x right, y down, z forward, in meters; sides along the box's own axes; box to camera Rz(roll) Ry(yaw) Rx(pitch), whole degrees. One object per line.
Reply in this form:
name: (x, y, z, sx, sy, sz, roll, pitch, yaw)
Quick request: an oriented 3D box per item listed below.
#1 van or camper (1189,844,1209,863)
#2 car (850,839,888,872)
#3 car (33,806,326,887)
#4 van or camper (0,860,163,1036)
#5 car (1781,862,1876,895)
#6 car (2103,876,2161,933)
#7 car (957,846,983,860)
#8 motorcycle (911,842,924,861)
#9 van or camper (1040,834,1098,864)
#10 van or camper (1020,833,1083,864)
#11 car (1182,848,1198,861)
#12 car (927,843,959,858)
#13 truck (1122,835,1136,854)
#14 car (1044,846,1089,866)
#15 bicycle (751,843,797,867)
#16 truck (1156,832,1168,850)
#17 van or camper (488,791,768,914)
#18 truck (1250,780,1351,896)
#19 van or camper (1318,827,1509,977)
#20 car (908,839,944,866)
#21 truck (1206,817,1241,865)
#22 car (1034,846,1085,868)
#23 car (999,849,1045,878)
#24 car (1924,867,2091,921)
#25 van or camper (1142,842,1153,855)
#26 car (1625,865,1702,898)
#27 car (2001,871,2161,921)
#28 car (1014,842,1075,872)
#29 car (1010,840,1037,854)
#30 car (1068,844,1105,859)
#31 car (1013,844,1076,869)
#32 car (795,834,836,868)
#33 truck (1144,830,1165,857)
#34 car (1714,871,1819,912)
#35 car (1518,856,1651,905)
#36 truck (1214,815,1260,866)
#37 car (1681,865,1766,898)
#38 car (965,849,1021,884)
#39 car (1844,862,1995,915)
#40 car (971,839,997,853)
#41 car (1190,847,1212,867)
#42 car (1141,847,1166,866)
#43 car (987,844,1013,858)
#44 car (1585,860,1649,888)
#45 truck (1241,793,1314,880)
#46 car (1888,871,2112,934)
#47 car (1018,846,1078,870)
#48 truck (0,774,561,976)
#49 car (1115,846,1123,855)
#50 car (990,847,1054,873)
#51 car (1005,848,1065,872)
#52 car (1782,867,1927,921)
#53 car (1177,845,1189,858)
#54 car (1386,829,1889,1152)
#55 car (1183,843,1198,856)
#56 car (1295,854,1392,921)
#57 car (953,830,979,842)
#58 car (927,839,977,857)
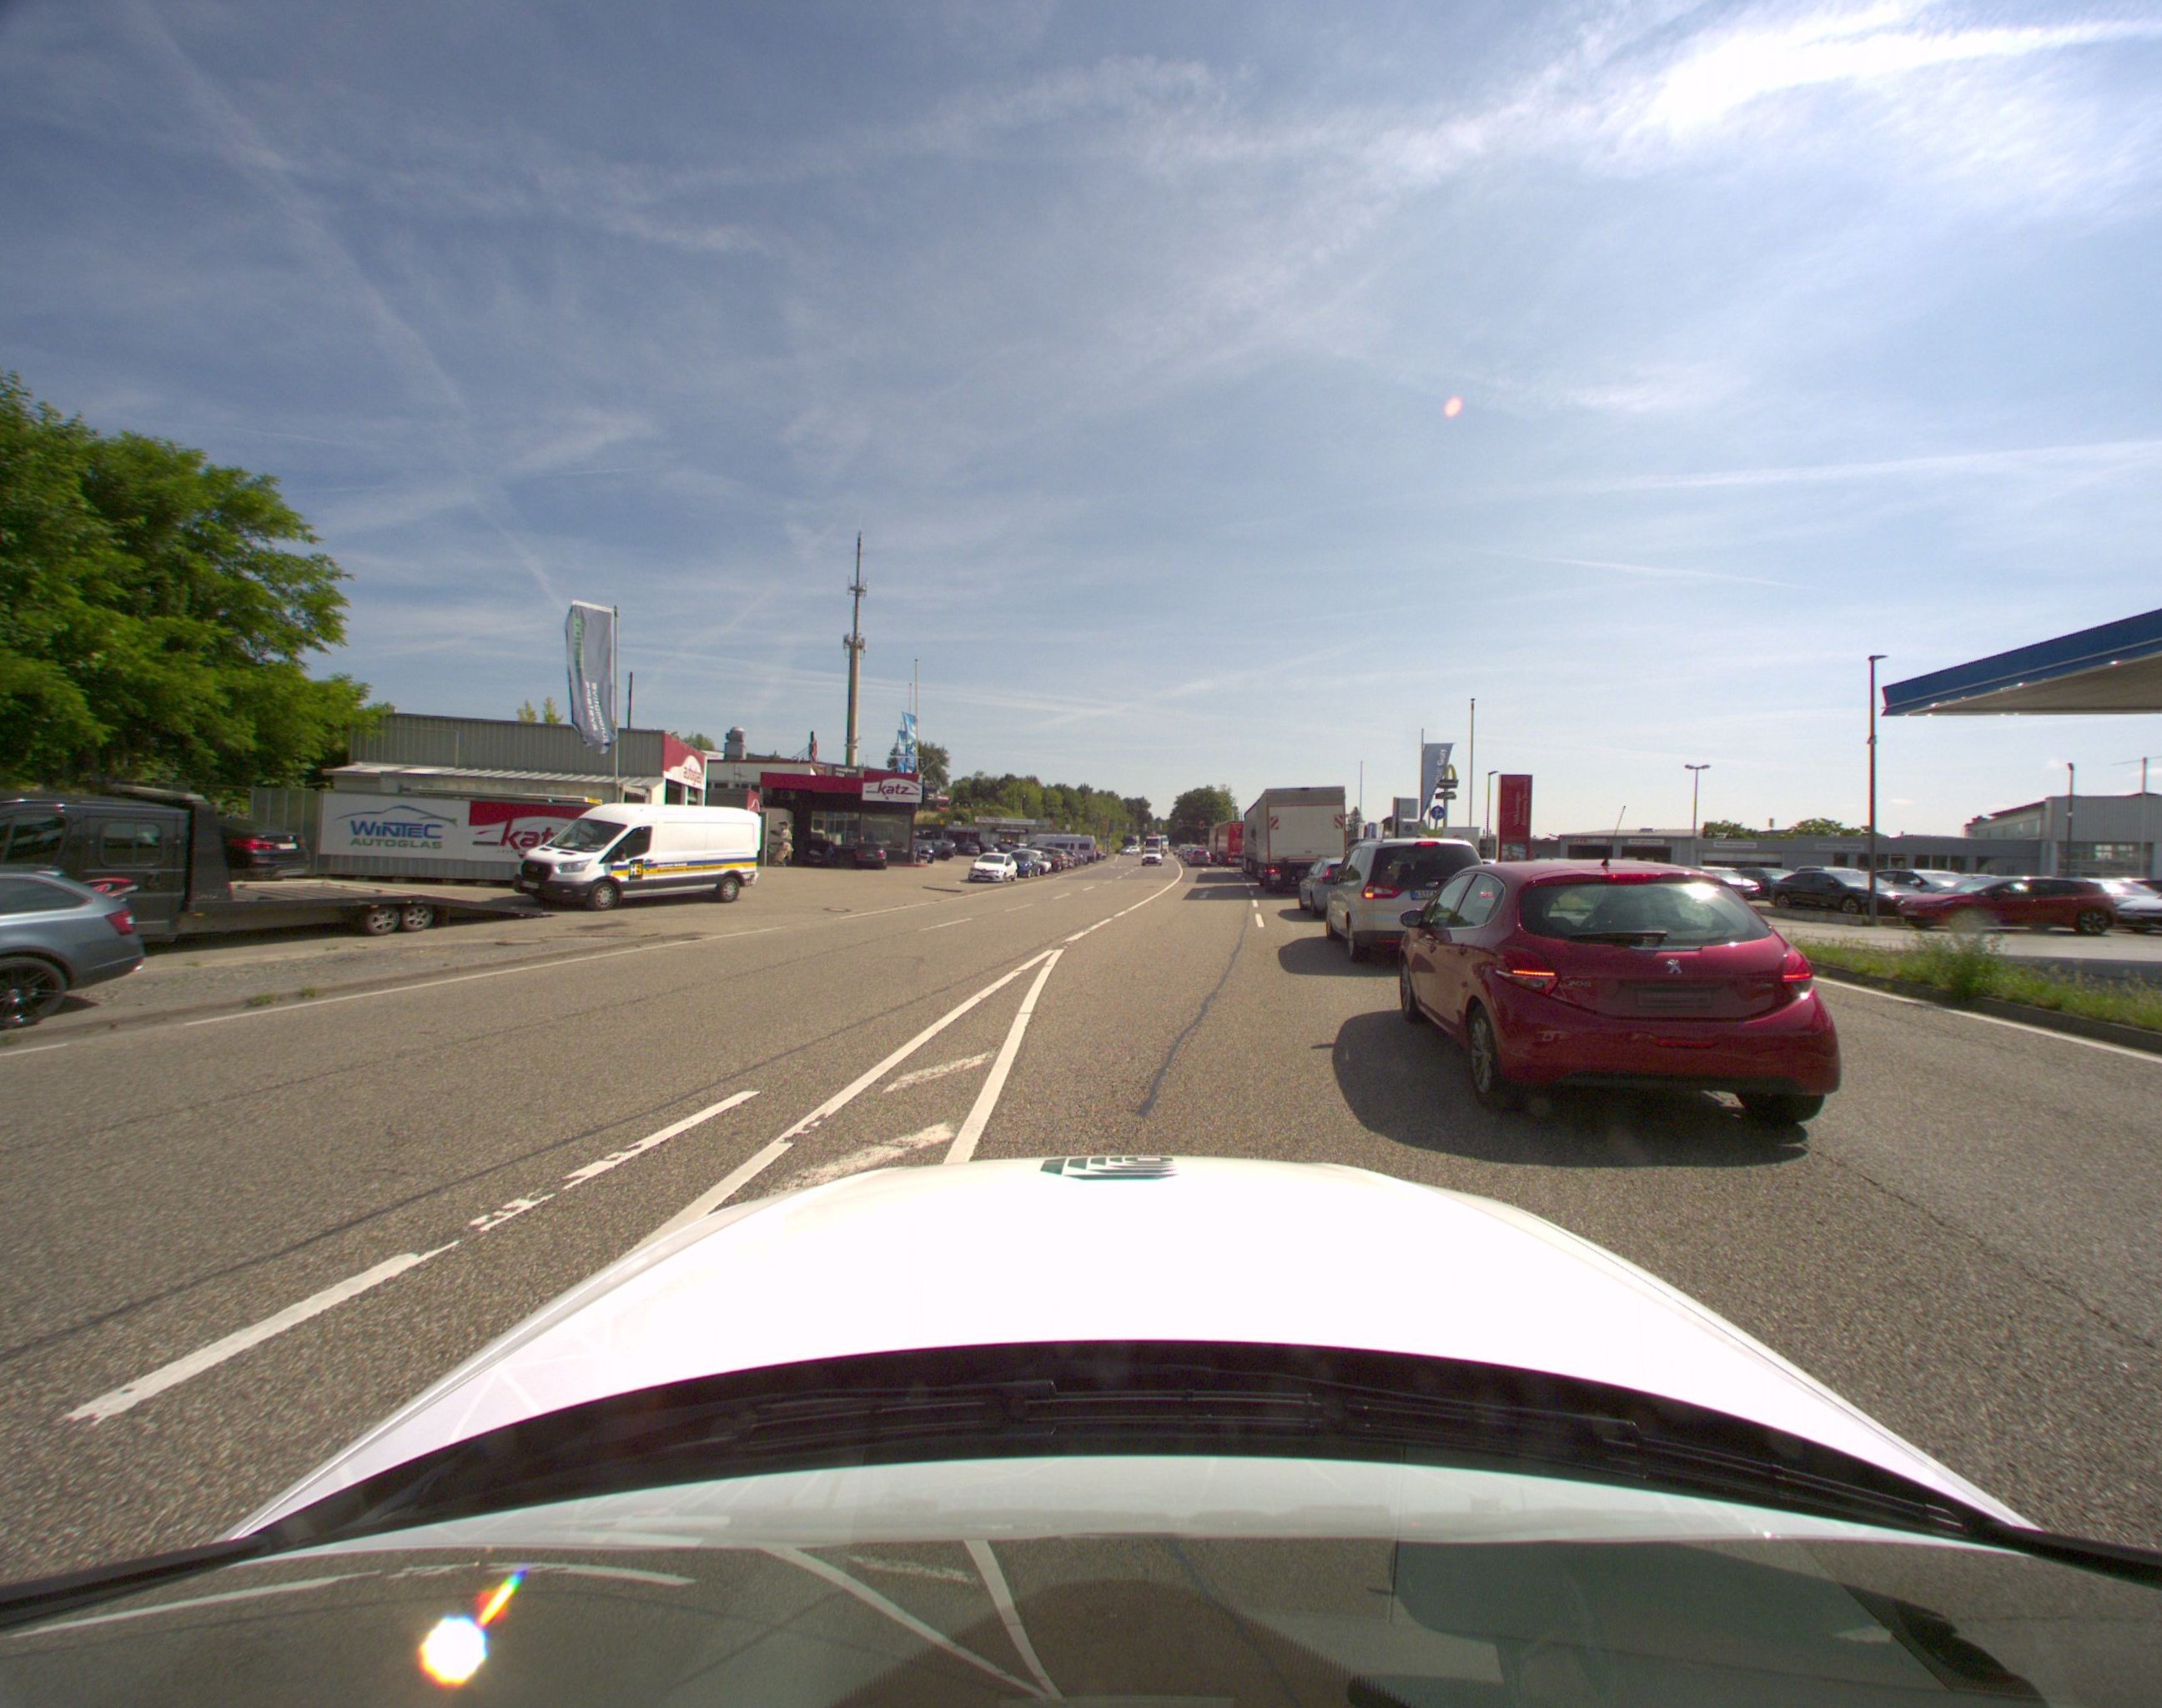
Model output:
van or camper: (12.167, -0.042, 83.904, 1.843, 1.905, 3.791, 1, 1, 6)
car: (-11.613, 0.029, 44.612, 1.857, 1.504, 4.374, 3, 2, -15)
car: (-18.401, -0.133, 16.842, 3.666, 1.529, 1.730, 1, 0, -16)
van or camper: (-10.709, 0.849, 6.323, 1.629, 1.524, 4.482, 2, 0, 12)
car: (35.372, 1.127, 38.679, 1.549, 1.409, 3.699, -1, 0, 9)
car: (31.134, 1.409, 22.109, 4.302, 1.494, 1.568, 1, 0, 9)
car: (-12.400, -0.112, 90.627, 1.773, 1.588, 3.796, 0, 0, -27)
motorcycle: (-10.799, -0.173, 53.669, 0.771, 1.261, 2.045, 0, 0, -14)
van or camper: (-1.108, -0.457, 76.911, 5.216, 2.731, 2.215, 1, 0, 7)
van or camper: (-2.830, -0.523, 79.611, 5.861, 2.873, 2.294, 1, 1, 6)
car: (12.449, 0.061, 93.277, 1.718, 1.519, 3.319, 1, 0, 7)
car: (-15.273, -0.362, 90.002, 1.779, 1.588, 3.782, 0, 1, -44)
truck: (9.873, -1.895, 167.999, 2.801, 3.786, 6.995, -1, 1, 3)
car: (-1.235, 0.164, 71.156, 3.691, 1.484, 1.710, 4, 1, 4)
bicycle: (-15.015, 0.044, 39.830, 1.995, 0.971, 0.413, 5, -1, -15)
truck: (18.999, -3.040, 190.913, 2.540, 4.307, 7.609, -1, 0, 6)
van or camper: (-10.915, -0.064, 20.367, 2.136, 2.498, 5.981, 5, 2, 22)
truck: (8.406, -0.564, 32.461, 2.861, 3.811, 11.173, 1, 0, 10)
van or camper: (4.784, 0.565, 12.488, 1.735, 1.787, 5.149, 1, 0, 11)
car: (-11.048, -0.080, 57.772, 1.826, 1.674, 4.102, 6, -2, -18)
truck: (16.941, -1.552, 97.786, 3.047, 5.220, 17.038, 1, 1, 6)
car: (-1.716, 0.265, 66.481, 3.827, 1.484, 1.804, 4, 1, 4)
car: (-3.428, 0.513, 48.060, 1.769, 1.493, 3.791, 5, 1, 9)
car: (30.777, 1.273, 27.244, 1.604, 1.594, 3.871, -1, 0, 9)
van or camper: (13.511, -1.211, 165.688, 2.162, 2.551, 4.177, 1, 1, 6)
car: (27.702, 1.283, 38.846, 1.549, 1.409, 3.605, -1, 0, 9)
car: (32.875, 1.316, 26.645, 1.604, 1.443, 3.871, -1, 0, 9)
car: (-2.464, 0.173, 56.163, 3.868, 1.716, 1.809, 4, 1, 4)
car: (-6.687, -0.810, 94.710, 1.773, 1.588, 3.796, 0, 0, -27)
car: (0.633, -0.264, 86.698, 3.798, 1.539, 1.845, 0, 0, 5)
car: (-2.629, 0.190, 59.099, 4.257, 1.484, 1.839, 4, 1, 4)
car: (-14.110, -0.193, 43.503, 1.857, 1.504, 3.979, 5, 2, -16)
truck: (12.026, -1.740, 132.638, 2.940, 4.209, 10.670, -1, 0, 8)
car: (26.670, 1.420, 31.834, 1.549, 1.409, 3.606, -1, 0, 10)
car: (15.981, 0.809, 25.904, 3.589, 1.409, 1.556, -1, 0, -15)
truck: (14.556, -1.246, 77.310, 2.942, 4.269, 16.614, 1, 1, 6)
car: (30.060, 1.273, 38.229, 1.549, 1.409, 3.605, -1, 0, 9)
car: (-4.348, 0.590, 40.928, 1.769, 1.618, 4.010, 1, 0, 9)
car: (28.160, 1.107, 27.536, 1.549, 1.594, 3.871, -1, 0, 9)
car: (-11.013, -0.932, 92.381, 1.773, 1.588, 3.796, 0, 0, -27)
car: (10.199, 0.250, 69.245, 1.779, 1.638, 3.513, 0, 0, 10)
car: (6.715, 0.239, 75.299, 1.924, 1.674, 4.011, -1, 0, 9)
car: (-9.302, -0.389, 93.324, 1.773, 1.588, 3.796, 0, 0, -27)
car: (28.858, 1.066, 43.955, 1.549, 1.409, 3.605, -1, 0, 9)
truck: (11.267, -0.931, 48.344, 2.873, 4.265, 16.752, 1, 0, 9)
car: (25.767, 1.322, 22.990, 3.876, 1.572, 1.813, 1, 0, 13)
car: (-2.544, 0.295, 63.487, 4.438, 1.484, 1.774, 4, 1, 4)
truck: (-13.020, 0.168, 12.861, 2.315, 2.296, 8.834, 5, 1, 13)
car: (9.191, -0.908, 198.115, 1.986, 2.013, 4.002, 1, 0, 2)
car: (-3.707, 0.363, 51.346, 3.778, 1.525, 1.849, 0, 0, 4)
car: (-2.988, 0.375, 53.650, 3.690, 1.525, 1.795, 0, 0, 4)
car: (25.645, 1.285, 27.192, 1.604, 1.594, 3.871, -1, 0, 9)
car: (15.634, -0.354, 124.654, 1.716, 1.909, 3.321, 1, 0, 9)
car: (3.456, 0.673, 5.965, 1.788, 1.572, 3.726, -1, 0, 13)
car: (13.708, -0.551, 102.127, 1.717, 1.519, 3.319, 1, 0, 7)
car: (6.353, 0.733, 20.136, 1.724, 1.428, 4.237, 1, 0, 10)
car: (-14.678, -2.329, 103.792, 1.743, 1.450, 3.709, 1, 0, -34)
car: (-10.939, -0.503, 68.940, 3.947, 1.532, 1.759, 0, 0, -17)
